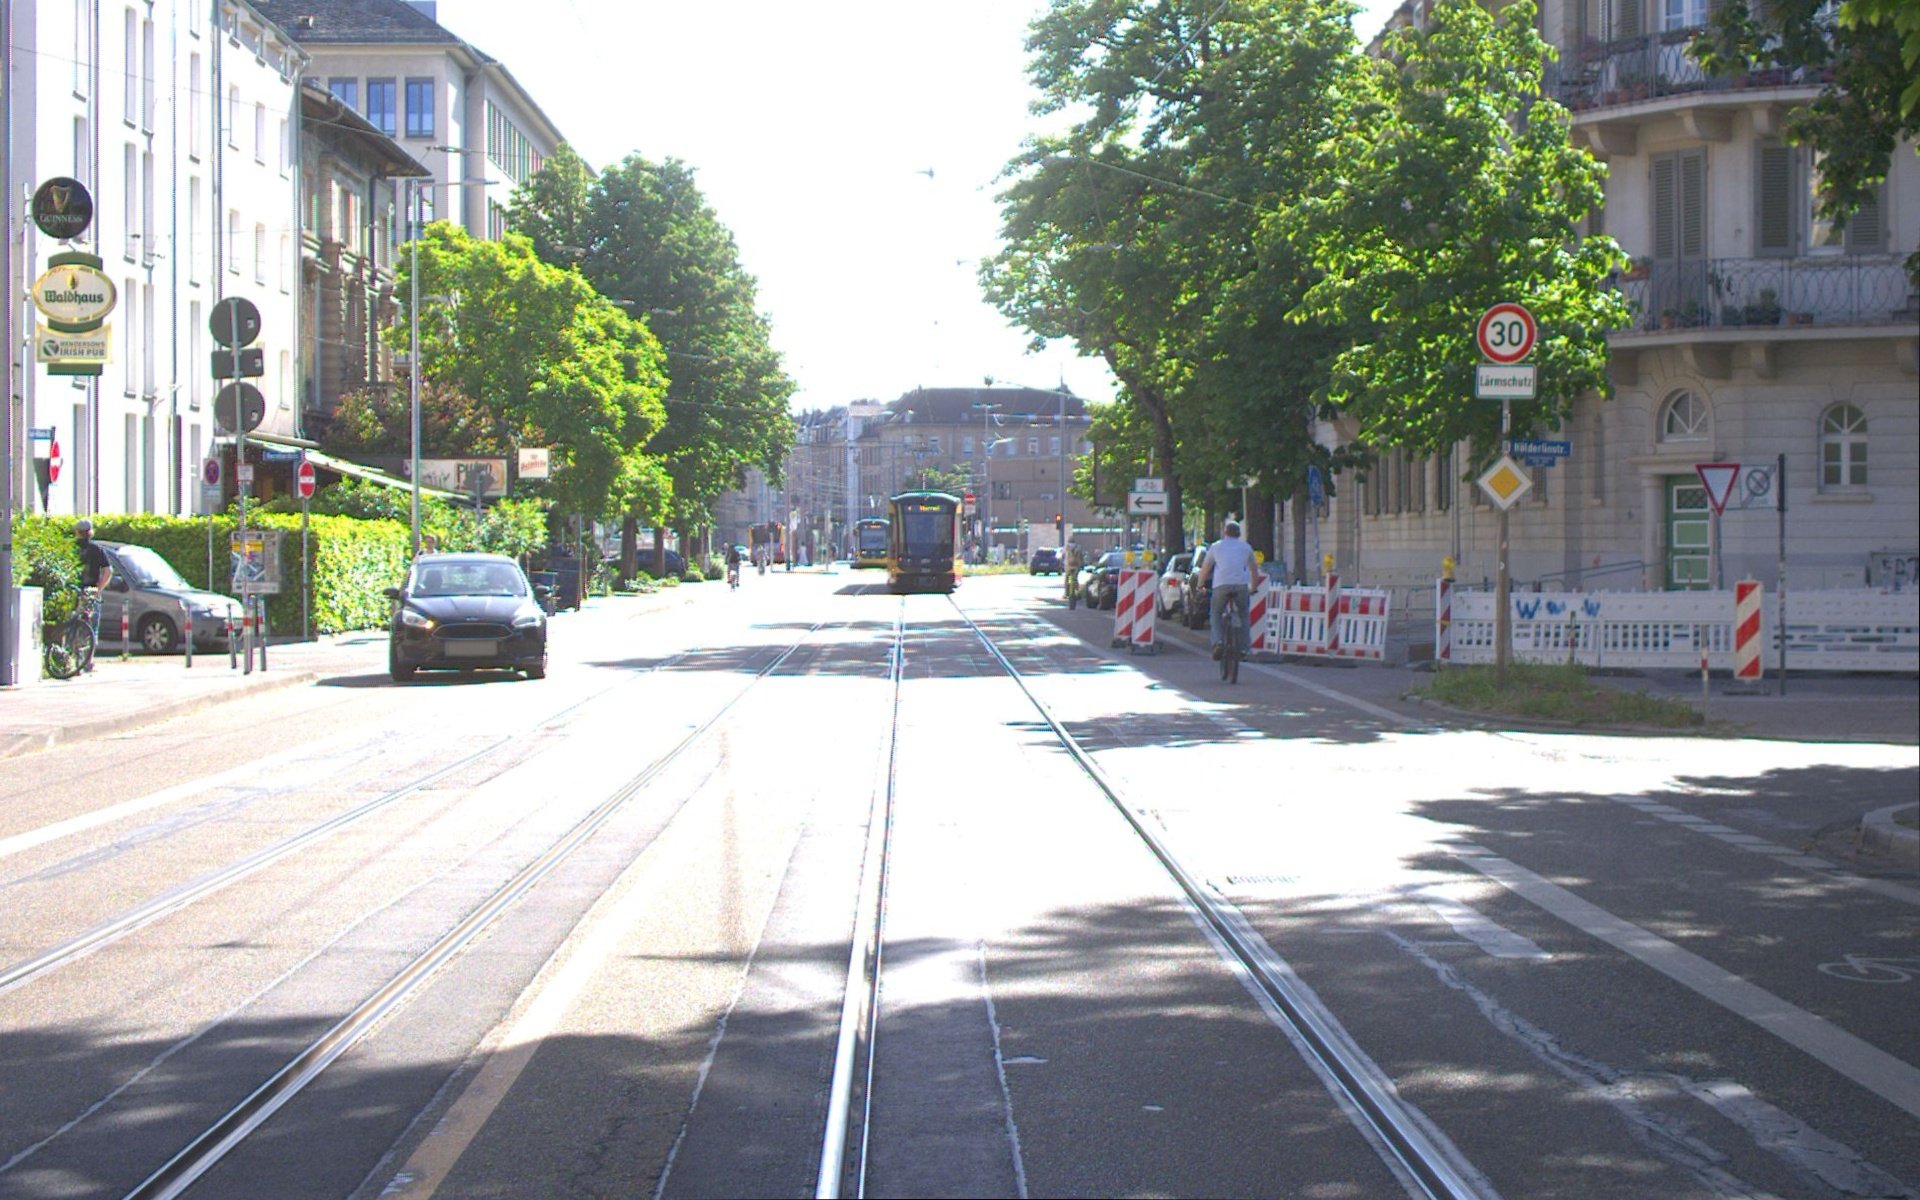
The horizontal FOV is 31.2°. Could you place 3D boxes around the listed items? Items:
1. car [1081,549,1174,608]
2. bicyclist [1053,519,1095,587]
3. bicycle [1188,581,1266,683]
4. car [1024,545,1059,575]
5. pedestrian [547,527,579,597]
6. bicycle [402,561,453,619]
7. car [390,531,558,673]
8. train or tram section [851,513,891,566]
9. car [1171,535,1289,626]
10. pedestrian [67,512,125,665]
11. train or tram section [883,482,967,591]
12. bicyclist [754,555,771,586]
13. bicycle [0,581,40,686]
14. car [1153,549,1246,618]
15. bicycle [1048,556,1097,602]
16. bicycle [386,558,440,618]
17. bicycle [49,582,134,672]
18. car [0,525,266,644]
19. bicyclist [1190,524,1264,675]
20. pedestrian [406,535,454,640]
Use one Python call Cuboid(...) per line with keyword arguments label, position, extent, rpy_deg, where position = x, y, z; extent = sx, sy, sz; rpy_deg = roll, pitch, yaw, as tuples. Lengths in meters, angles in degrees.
Cuboid(label="car", position=(4.341, -0.581, 89.864), extent=(1.821, 1.453, 4.819), rpy_deg=(-1, 1, -4))
Cuboid(label="bicyclist", position=(2.861, -1.177, 86.426), extent=(0.705, 1.669, 1.100), rpy_deg=(2, 1, 19))
Cuboid(label="bicycle", position=(3.037, 0.351, 39.295), extent=(0.738, 1.090, 2.111), rpy_deg=(2, 1, 1))
Cuboid(label="car", position=(4.515, -2.211, 190.388), extent=(1.789, 1.599, 3.712), rpy_deg=(2, 1, 4))
Cuboid(label="pedestrian", position=(-10.324, -0.989, 89.375), extent=(0.576, 1.825, 0.689), rpy_deg=(1, 1, 18))
Cuboid(label="bicycle", position=(-10.360, -0.190, 66.956), extent=(0.661, 1.086, 1.840), rpy_deg=(3, 0, 0))
Cuboid(label="car", position=(-5.893, -0.005, 41.536), extent=(1.864, 1.571, 4.590), rpy_deg=(-2, 1, -9))
Cuboid(label="train or tram section", position=(-6.347, -4.330, 244.750), extent=(2.742, 3.639, 13.787), rpy_deg=(0, 1, -1))
Cuboid(label="car", position=(5.092, -0.394, 65.333), extent=(1.810, 1.620, 4.584), rpy_deg=(-2, 1, 0))
Cuboid(label="pedestrian", position=(-10.130, -0.133, 40.321), extent=(0.557, 1.775, 0.539), rpy_deg=(0, 0, -4))
Cuboid(label="train or tram section", position=(-1.342, -2.301, 123.328), extent=(2.742, 3.639, 13.787), rpy_deg=(0, 1, -1))
Cuboid(label="bicyclist", position=(-10.707, -1.600, 186.383), extent=(0.687, 1.639, 1.237), rpy_deg=(-2, 1, 3))
Cuboid(label="bicycle", position=(-9.883, 0.338, 34.869), extent=(0.513, 1.034, 2.223), rpy_deg=(0, 1, 0))
Cuboid(label="car", position=(5.064, -0.381, 73.196), extent=(1.724, 1.377, 4.356), rpy_deg=(-1, 1, 1))
Cuboid(label="bicycle", position=(2.836, -0.533, 86.427), extent=(0.705, 1.101, 1.715), rpy_deg=(2, 1, 19))
Cuboid(label="bicycle", position=(-10.320, -0.219, 64.895), extent=(0.661, 1.086, 1.840), rpy_deg=(3, 0, 0))
Cuboid(label="bicycle", position=(-9.779, 0.292, 38.757), extent=(0.527, 0.978, 1.778), rpy_deg=(0, 1, -1))
Cuboid(label="car", position=(-13.067, -0.225, 53.671), extent=(4.045, 1.801, 1.790), rpy_deg=(0, -1, 21))
Cuboid(label="bicyclist", position=(3.048, -0.015, 39.278), extent=(0.738, 1.680, 0.972), rpy_deg=(2, 1, 1))
Cuboid(label="pedestrian", position=(-9.025, -0.217, 58.595), extent=(0.691, 1.762, 0.866), rpy_deg=(0, 1, 0))
